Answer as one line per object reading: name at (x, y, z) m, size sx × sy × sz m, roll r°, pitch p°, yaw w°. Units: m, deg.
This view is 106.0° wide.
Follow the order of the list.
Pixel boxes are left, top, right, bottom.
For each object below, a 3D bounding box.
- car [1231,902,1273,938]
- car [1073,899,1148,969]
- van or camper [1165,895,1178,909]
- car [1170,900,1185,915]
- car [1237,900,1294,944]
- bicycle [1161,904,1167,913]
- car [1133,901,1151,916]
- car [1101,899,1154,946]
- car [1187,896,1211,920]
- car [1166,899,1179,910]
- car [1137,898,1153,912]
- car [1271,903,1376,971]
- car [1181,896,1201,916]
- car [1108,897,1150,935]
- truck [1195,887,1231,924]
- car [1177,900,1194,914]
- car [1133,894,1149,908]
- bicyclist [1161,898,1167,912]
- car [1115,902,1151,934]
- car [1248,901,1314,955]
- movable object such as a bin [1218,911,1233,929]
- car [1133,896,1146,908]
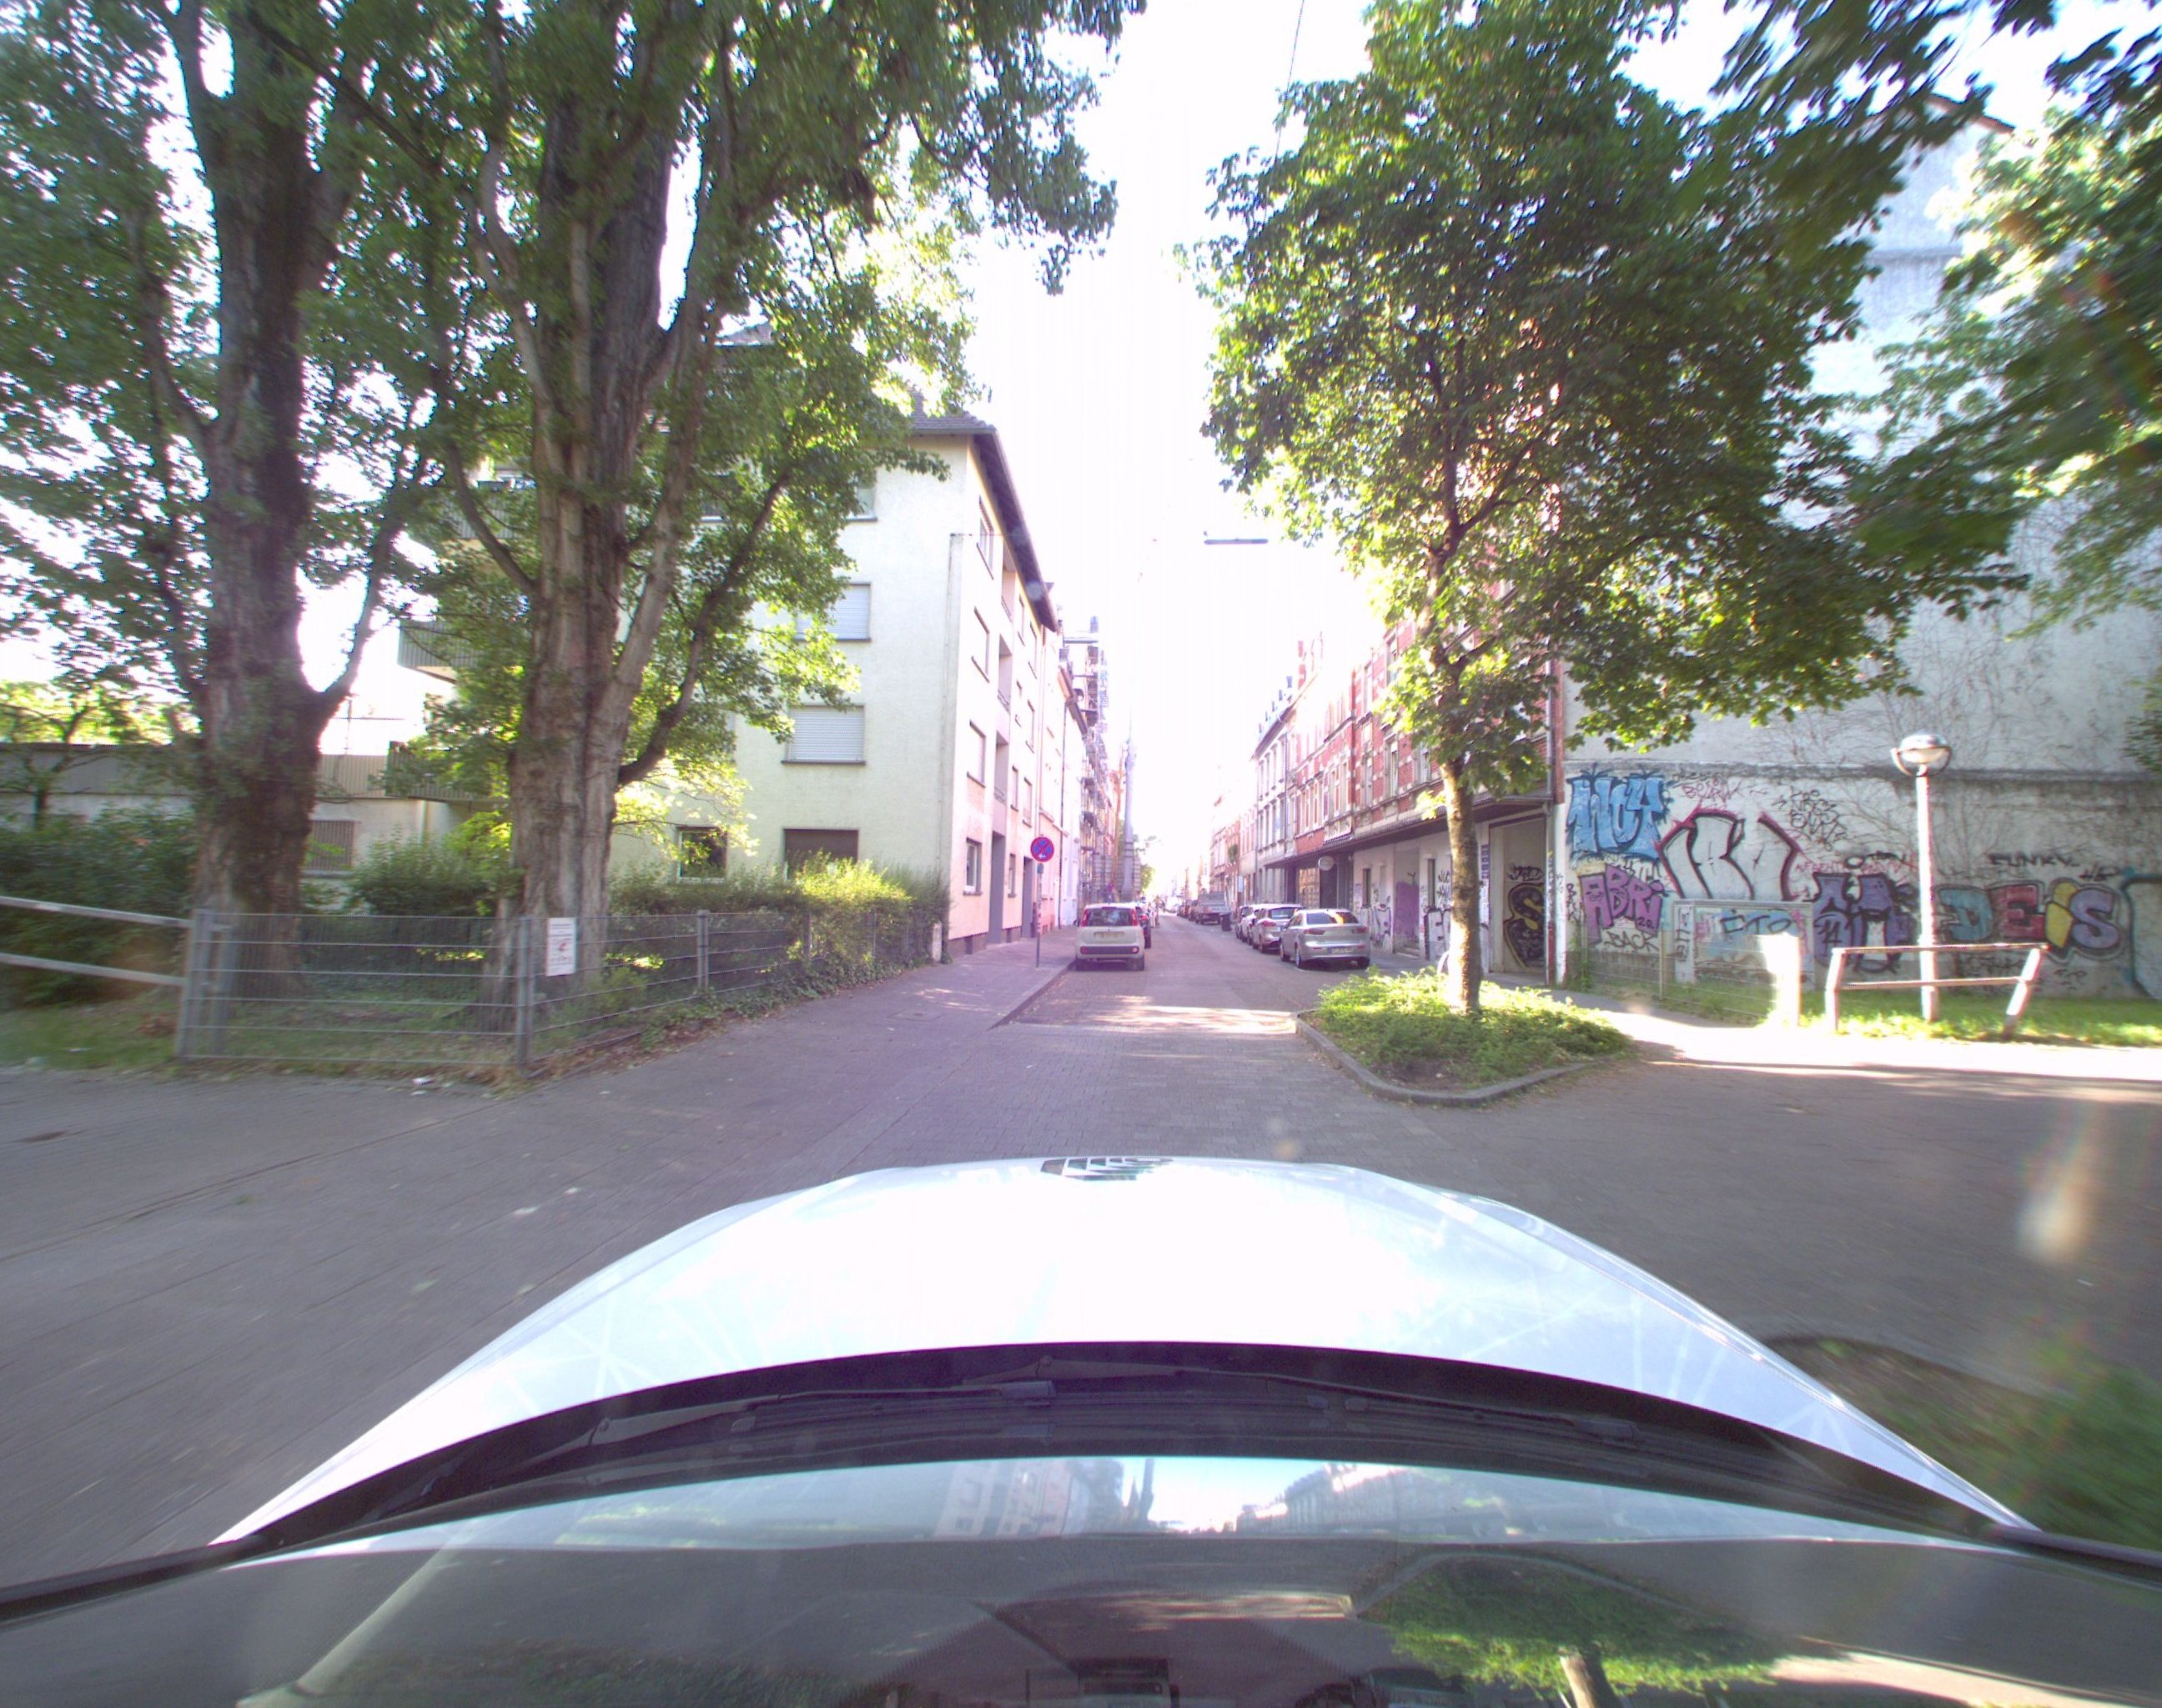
car at (8.061, 3.086, 38.552) m, size 1.588 × 1.561 × 3.819 m, roll 1°, pitch -3°, yaw 6°
car at (0.745, 1.910, 20.234) m, size 1.668 × 1.540 × 3.870 m, roll 0°, pitch -4°, yaw 2°
van or camper at (16.667, 8.879, 149.741) m, size 1.987 × 2.509 × 4.201 m, roll 0°, pitch -3°, yaw 0°
car at (14.361, 7.945, 121.182) m, size 1.985 × 2.014 × 4.002 m, roll 1°, pitch -3°, yaw 3°
car at (7.497, 2.737, 33.395) m, size 1.738 × 1.676 × 4.346 m, roll 1°, pitch -4°, yaw 6°
bicycle at (11.458, 7.485, 112.492) m, size 0.721 × 1.187 × 2.045 m, roll 2°, pitch -2°, yaw 5°
car at (6.131, 5.497, 81.764) m, size 1.668 × 1.446 × 3.870 m, roll 1°, pitch -4°, yaw 2°
car at (1.627, 2.394, 29.016) m, size 1.722 × 1.540 × 4.379 m, roll 0°, pitch -4°, yaw 2°
car at (10.261, 4.716, 70.996) m, size 1.668 × 1.963 × 4.110 m, roll 1°, pitch -4°, yaw 2°
car at (15.220, 8.414, 135.110) m, size 1.985 × 1.849 × 4.002 m, roll 0°, pitch -3°, yaw 3°
car at (7.596, 6.118, 97.070) m, size 1.668 × 1.571 × 3.870 m, roll 1°, pitch -4°, yaw 2°
car at (6.272, 2.105, 21.564) m, size 1.714 × 1.562 × 4.401 m, roll 1°, pitch -3°, yaw 4°
car at (11.299, 5.305, 83.448) m, size 1.668 × 2.032 × 3.870 m, roll 1°, pitch -4°, yaw 2°
car at (2.119, 2.624, 34.935) m, size 1.667 × 1.512 × 4.418 m, roll 1°, pitch -3°, yaw 4°
truck at (9.756, 3.786, 60.531) m, size 2.180 × 2.608 × 5.237 m, roll 0°, pitch -3°, yaw 3°
car at (12.370, 6.326, 96.865) m, size 1.668 × 1.571 × 3.870 m, roll 1°, pitch -4°, yaw 2°
car at (6.715, 5.299, 91.965) m, size 1.668 × 1.571 × 3.870 m, roll 1°, pitch -4°, yaw 2°
bicyclist at (11.494, 7.040, 112.506) m, size 0.727 × 1.762 × 0.836 m, roll 2°, pitch -3°, yaw 5°
car at (2.644, 3.141, 40.625) m, size 1.667 × 1.477 × 4.612 m, roll 1°, pitch -4°, yaw 4°
car at (6.748, 2.457, 27.750) m, size 1.632 × 1.657 × 3.874 m, roll 1°, pitch -4°, yaw 6°
movable object such as a bin at (8.545, 3.912, 48.284) m, size 0.791 × 1.056 × 0.660 m, roll 1°, pitch -3°, yaw 4°
car at (9.110, 7.449, 126.186) m, size 1.985 × 1.849 × 4.002 m, roll 0°, pitch -3°, yaw 3°
